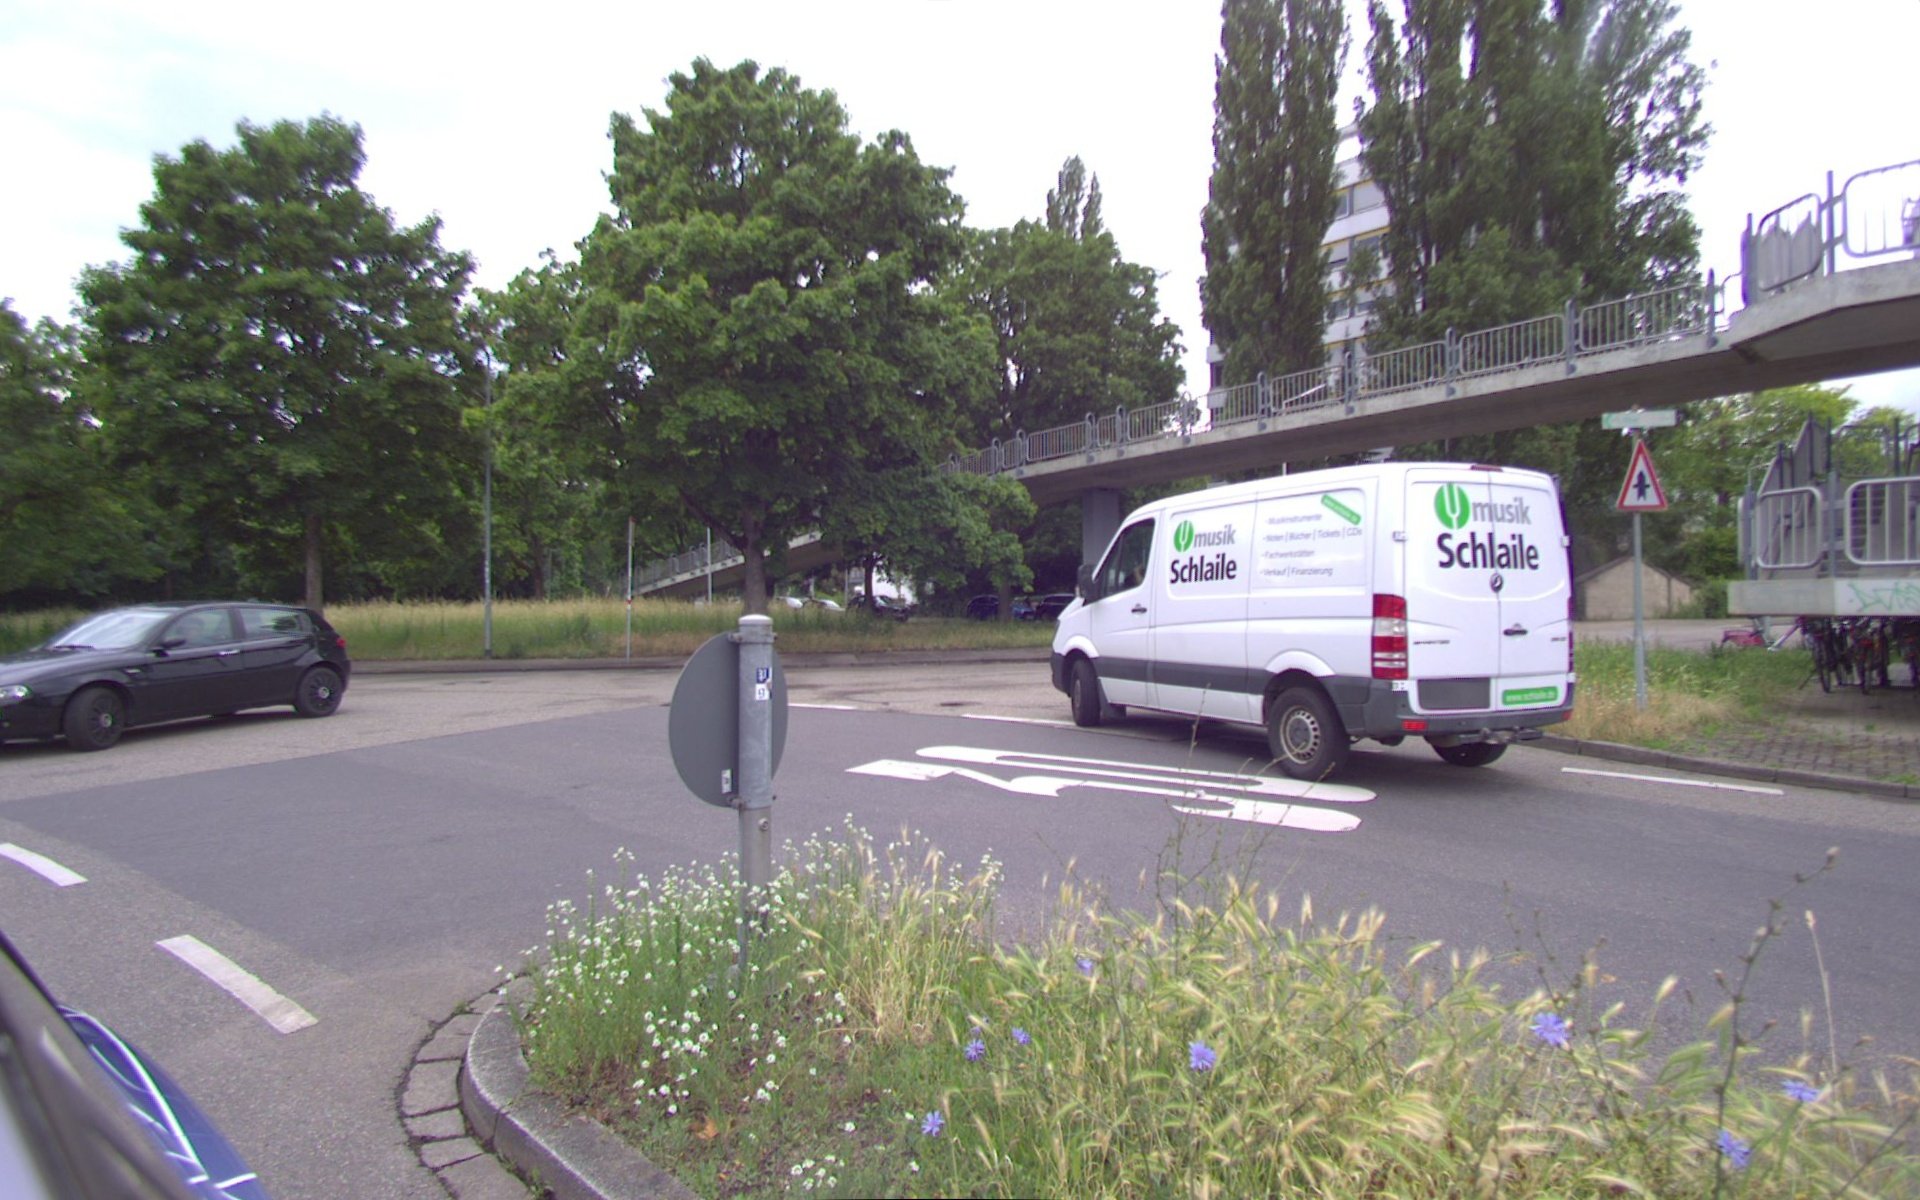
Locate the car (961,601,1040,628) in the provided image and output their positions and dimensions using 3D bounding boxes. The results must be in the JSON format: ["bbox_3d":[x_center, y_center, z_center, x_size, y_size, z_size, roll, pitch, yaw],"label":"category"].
[{"bbox_3d":[1.969,0.685,50.141,1.667,1.247,4.007,-1,0,-39],"label":"car"}]

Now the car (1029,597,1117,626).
[{"bbox_3d":[5.124,0.523,46.428,1.667,1.256,4.007,-1,0,-39],"label":"car"}]

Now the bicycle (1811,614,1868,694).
[{"bbox_3d":[10.921,0.642,12.558,1.618,0.892,0.395,-1,0,-44],"label":"bicycle"}]

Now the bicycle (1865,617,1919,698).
[{"bbox_3d":[11.295,0.666,12.247,1.618,0.892,0.395,-1,0,-44],"label":"bicycle"}]

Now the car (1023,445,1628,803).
[{"bbox_3d":[2.813,0.149,9.338,2.104,2.309,5.225,-1,0,-26],"label":"car"}]

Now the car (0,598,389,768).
[{"bbox_3d":[-8.786,0.741,11.048,1.787,1.468,4.518,-1,0,15],"label":"car"}]

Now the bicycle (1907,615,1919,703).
[{"bbox_3d":[10.772,0.628,11.161,1.618,0.892,0.395,-1,0,-44],"label":"bicycle"}]

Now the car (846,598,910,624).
[{"bbox_3d":[-4.705,0.611,57.709,1.667,1.361,4.007,-1,0,-39],"label":"car"}]
